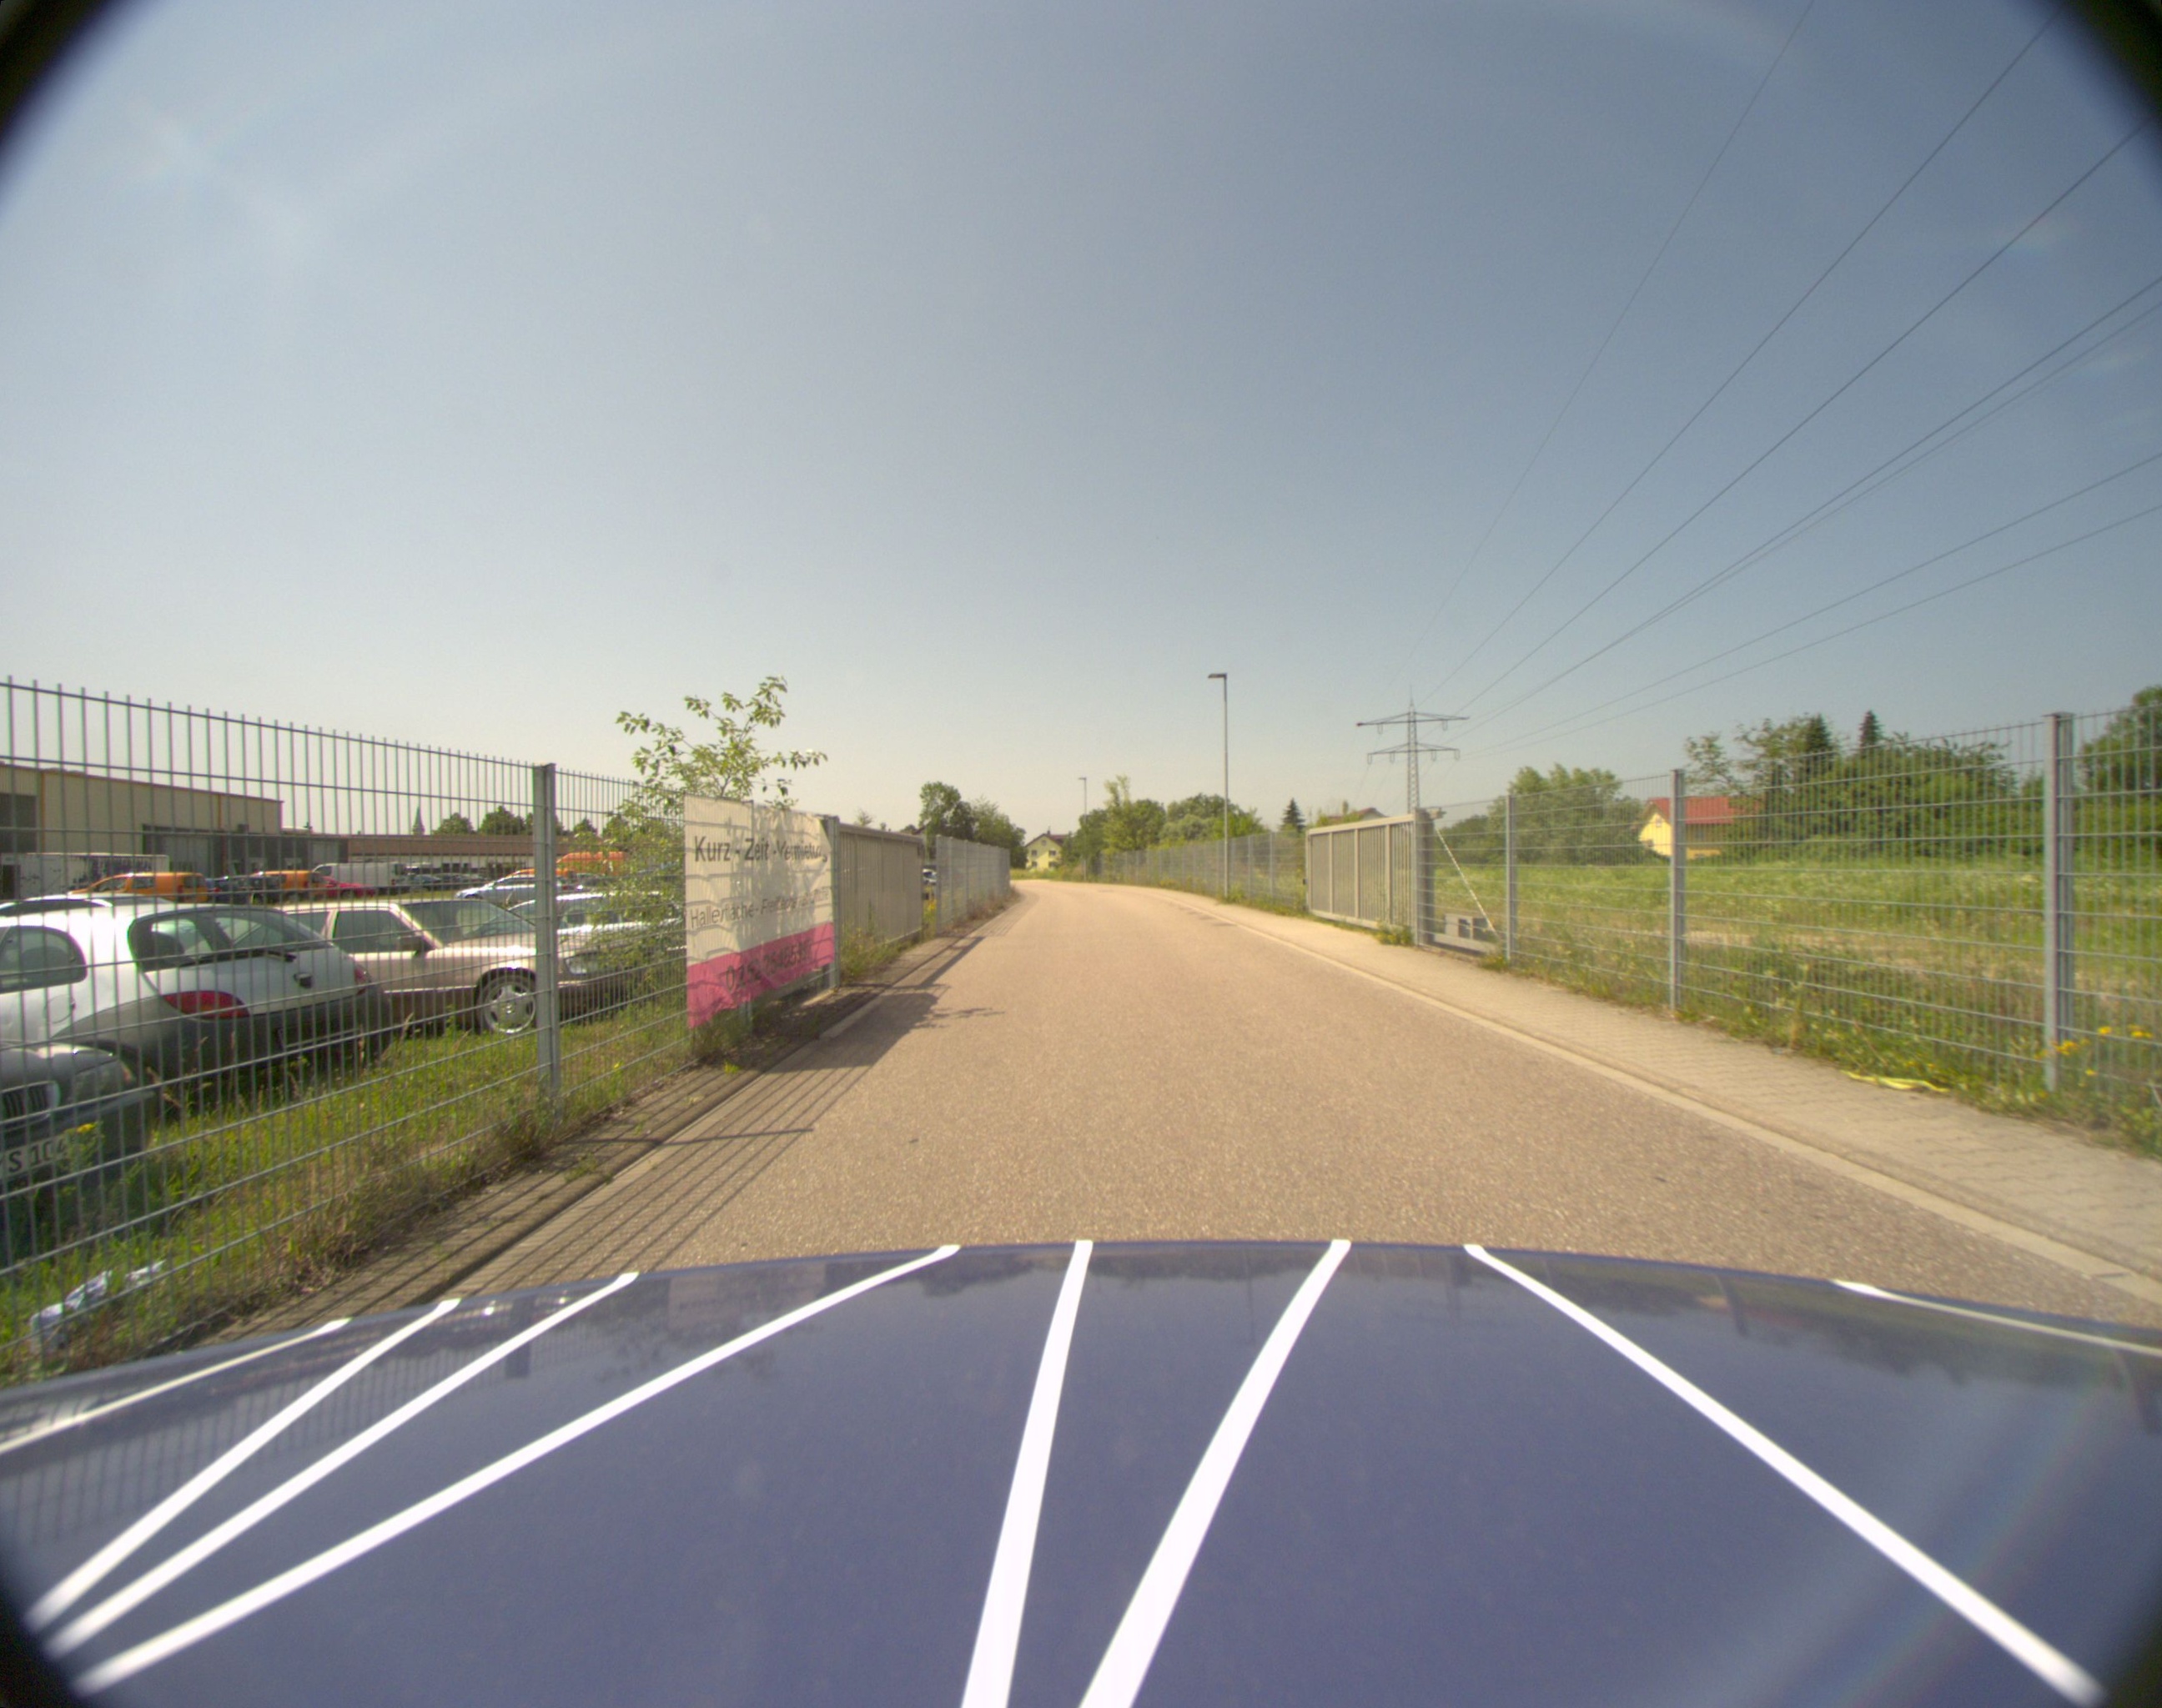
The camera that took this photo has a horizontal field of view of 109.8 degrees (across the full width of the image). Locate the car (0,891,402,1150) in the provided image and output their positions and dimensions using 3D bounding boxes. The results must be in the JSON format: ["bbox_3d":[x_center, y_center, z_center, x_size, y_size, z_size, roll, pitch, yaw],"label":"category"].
[{"bbox_3d":[-6.801,0.992,4.933,3.277,1.346,1.527,-1,0,-4],"label":"car"}]

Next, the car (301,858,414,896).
[{"bbox_3d":[-42.586,1.336,44.838,4.393,2.158,1.971,0,-1,-18],"label":"car"}]

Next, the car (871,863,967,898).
[{"bbox_3d":[-7.789,1.291,36.818,4.293,1.627,1.764,0,-1,-4],"label":"car"}]

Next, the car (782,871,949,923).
[{"bbox_3d":[-6.348,1.254,22.792,4.522,1.398,1.838,-1,0,-3],"label":"car"}]

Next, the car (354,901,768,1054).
[{"bbox_3d":[-6.612,1.532,10.044,4.175,1.465,1.637,-4,0,-4],"label":"car"}]

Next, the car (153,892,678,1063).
[{"bbox_3d":[-6.372,1.143,7.640,3.672,1.346,1.740,-1,0,-2],"label":"car"}]

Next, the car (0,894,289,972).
[{"bbox_3d":[-20.022,1.613,15.921,4.526,1.343,1.624,-1,0,-15],"label":"car"}]

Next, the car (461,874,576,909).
[{"bbox_3d":[-25.135,1.646,34.109,3.832,1.453,1.587,0,-1,-16],"label":"car"}]

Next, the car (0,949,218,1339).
[{"bbox_3d":[-6.074,1.152,2.555,4.195,1.346,1.723,-1,0,-3],"label":"car"}]

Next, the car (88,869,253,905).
[{"bbox_3d":[-39.941,1.415,33.463,4.393,1.476,1.750,0,-1,-18],"label":"car"}]

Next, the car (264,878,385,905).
[{"bbox_3d":[-41.651,2.043,41.955,4.393,1.369,1.840,0,-1,-16],"label":"car"}]

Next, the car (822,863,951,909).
[{"bbox_3d":[-7.176,1.167,28.311,4.220,1.398,1.839,-4,0,3],"label":"car"}]

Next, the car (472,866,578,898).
[{"bbox_3d":[-26.716,1.321,36.631,3.832,1.453,1.587,0,-1,-16],"label":"car"}]

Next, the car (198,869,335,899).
[{"bbox_3d":[-41.692,1.518,39.043,4.393,1.476,1.971,0,-1,-18],"label":"car"}]

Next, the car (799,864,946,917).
[{"bbox_3d":[-6.812,1.187,25.111,4.220,1.398,1.839,-4,0,3],"label":"car"}]

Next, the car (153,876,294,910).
[{"bbox_3d":[-41.118,1.823,36.562,4.003,1.455,1.997,-1,0,-17],"label":"car"}]

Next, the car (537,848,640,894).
[{"bbox_3d":[-28.927,0.986,44.787,4.749,2.569,1.978,0,-1,-16],"label":"car"}]

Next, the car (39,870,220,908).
[{"bbox_3d":[-39.049,1.401,31.334,4.393,1.476,1.750,0,-1,-18],"label":"car"}]
